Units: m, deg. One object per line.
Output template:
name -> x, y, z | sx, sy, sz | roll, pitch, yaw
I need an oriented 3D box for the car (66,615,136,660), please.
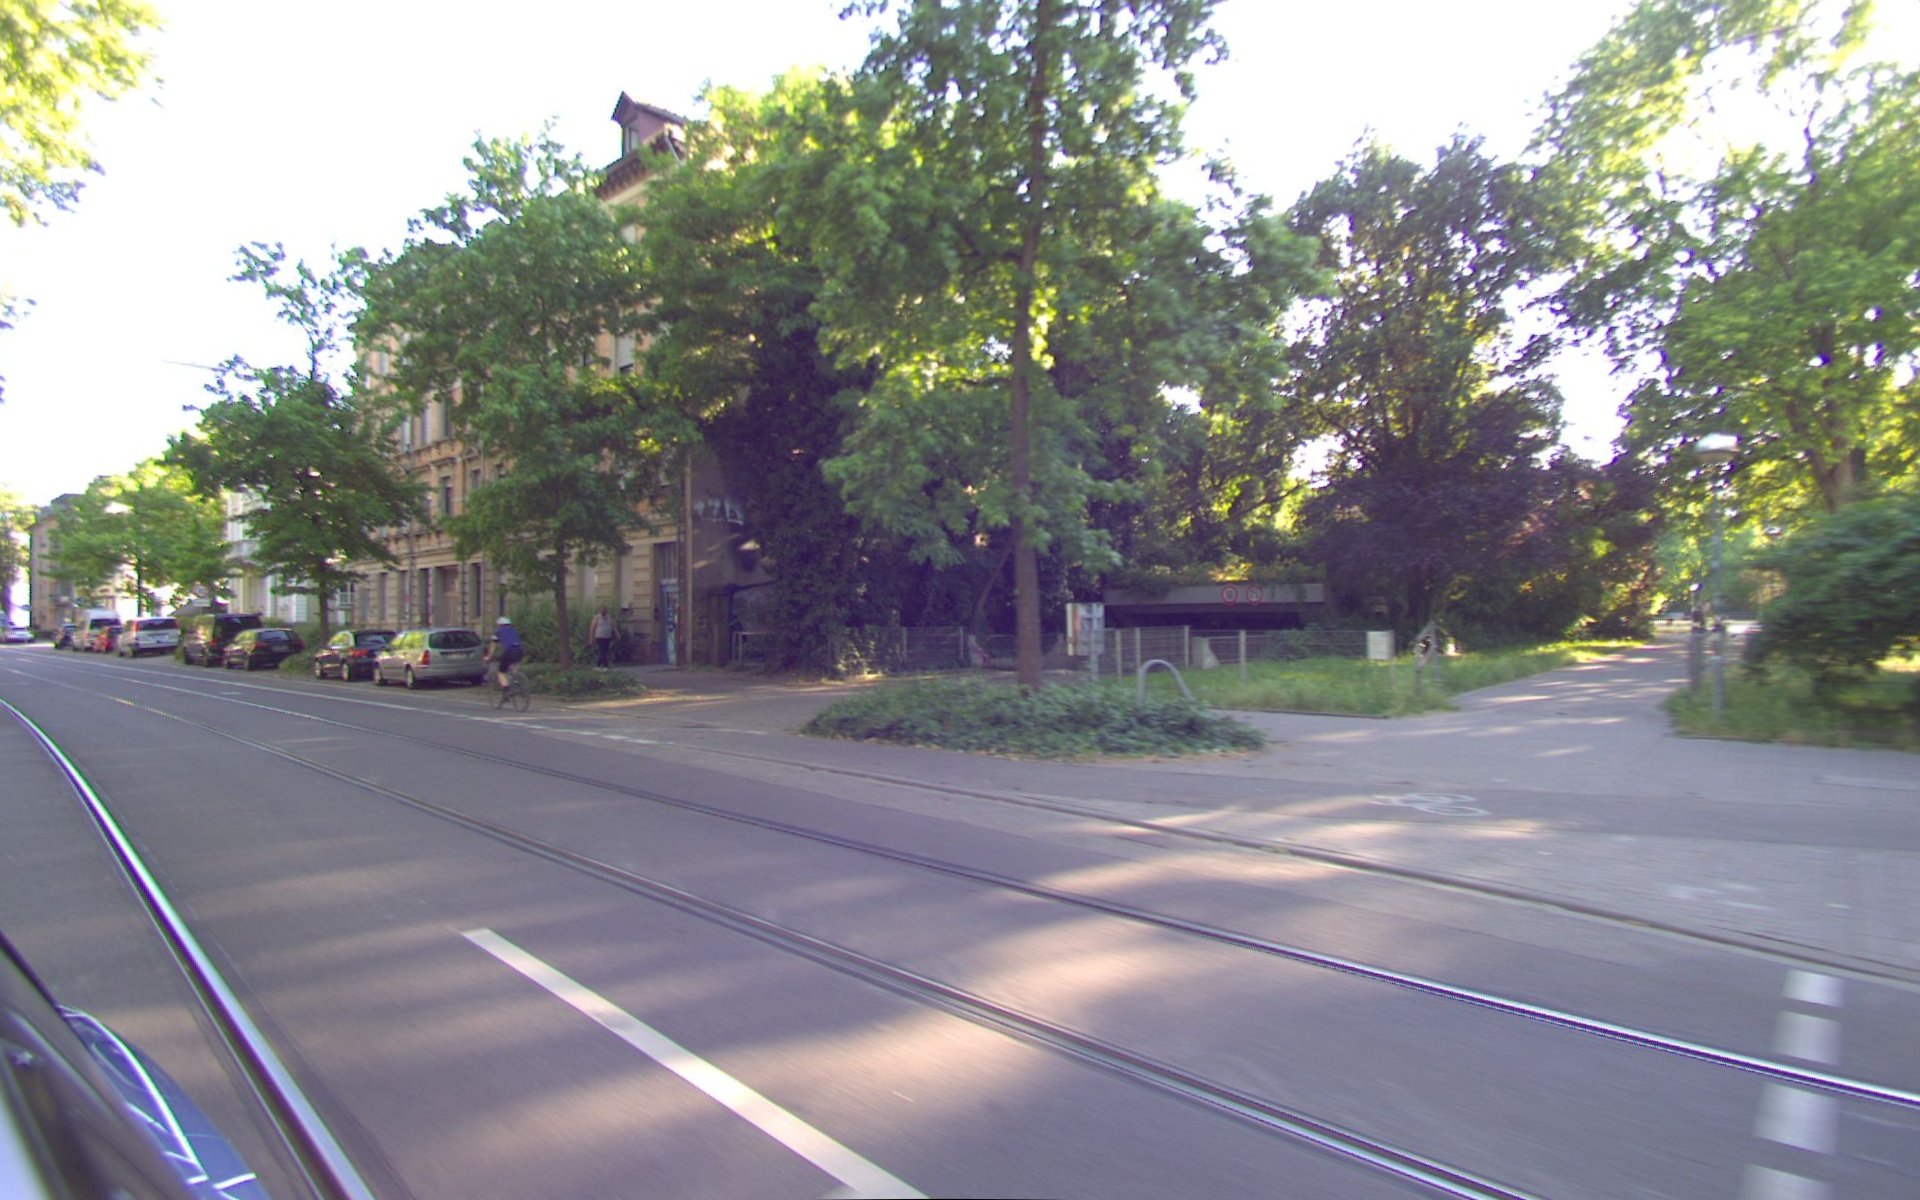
car -> -50.339, 2.168, 59.244 | 5.339, 2.527, 2.280 | -2, -2, 40

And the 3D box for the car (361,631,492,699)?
car -> -13.615, 1.591, 25.709 | 1.680, 1.562, 4.538 | 0, -2, -45

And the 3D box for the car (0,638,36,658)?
car -> -77.820, 3.923, 83.402 | 4.936, 1.504, 1.753 | -2, -1, 39

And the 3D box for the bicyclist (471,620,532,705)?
bicyclist -> -8.189, 1.112, 18.074 | 0.836, 1.466, 0.634 | -2, -5, 41

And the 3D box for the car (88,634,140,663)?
car -> -46.833, 2.654, 56.009 | 3.706, 1.551, 1.667 | -2, -2, 41

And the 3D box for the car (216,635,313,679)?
car -> -24.893, 1.991, 36.182 | 4.267, 1.469, 1.834 | -2, -2, 41

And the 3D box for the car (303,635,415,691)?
car -> -17.268, 1.755, 29.014 | 3.947, 1.456, 1.641 | -2, -2, 41

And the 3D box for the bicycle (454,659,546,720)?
bicycle -> -8.215, 1.574, 18.040 | 2.100, 0.994, 0.634 | -2, -5, 41

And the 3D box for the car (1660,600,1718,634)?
car -> 34.135, 0.834, 47.333 | 1.799, 1.522, 3.945 | -2, -2, 41

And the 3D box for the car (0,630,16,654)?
car -> -85.871, 3.792, 90.264 | 4.938, 2.062, 1.903 | -2, -1, 41

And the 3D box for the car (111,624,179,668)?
car -> -39.582, 2.197, 49.106 | 4.987, 2.004, 1.823 | -2, -2, 43

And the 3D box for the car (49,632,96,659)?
car -> -57.437, 2.927, 65.461 | 4.263, 1.703, 1.970 | -2, -2, 44

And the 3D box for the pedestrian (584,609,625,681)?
pedestrian -> -9.503, 1.194, 27.023 | 0.728, 1.861, 0.734 | -2, -1, 40

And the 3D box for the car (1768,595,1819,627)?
car -> 41.126, 0.585, 49.914 | 1.799, 1.522, 3.945 | -2, -2, 41

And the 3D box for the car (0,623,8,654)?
car -> -90.307, 3.647, 94.220 | 4.545, 2.767, 1.903 | -2, 2, 42

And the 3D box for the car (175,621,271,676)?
car -> -28.957, 1.868, 39.712 | 4.831, 2.029, 1.973 | -2, -2, 41

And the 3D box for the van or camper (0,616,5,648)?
van or camper -> -95.370, 3.215, 98.981 | 5.990, 2.999, 2.391 | -2, 2, 43
